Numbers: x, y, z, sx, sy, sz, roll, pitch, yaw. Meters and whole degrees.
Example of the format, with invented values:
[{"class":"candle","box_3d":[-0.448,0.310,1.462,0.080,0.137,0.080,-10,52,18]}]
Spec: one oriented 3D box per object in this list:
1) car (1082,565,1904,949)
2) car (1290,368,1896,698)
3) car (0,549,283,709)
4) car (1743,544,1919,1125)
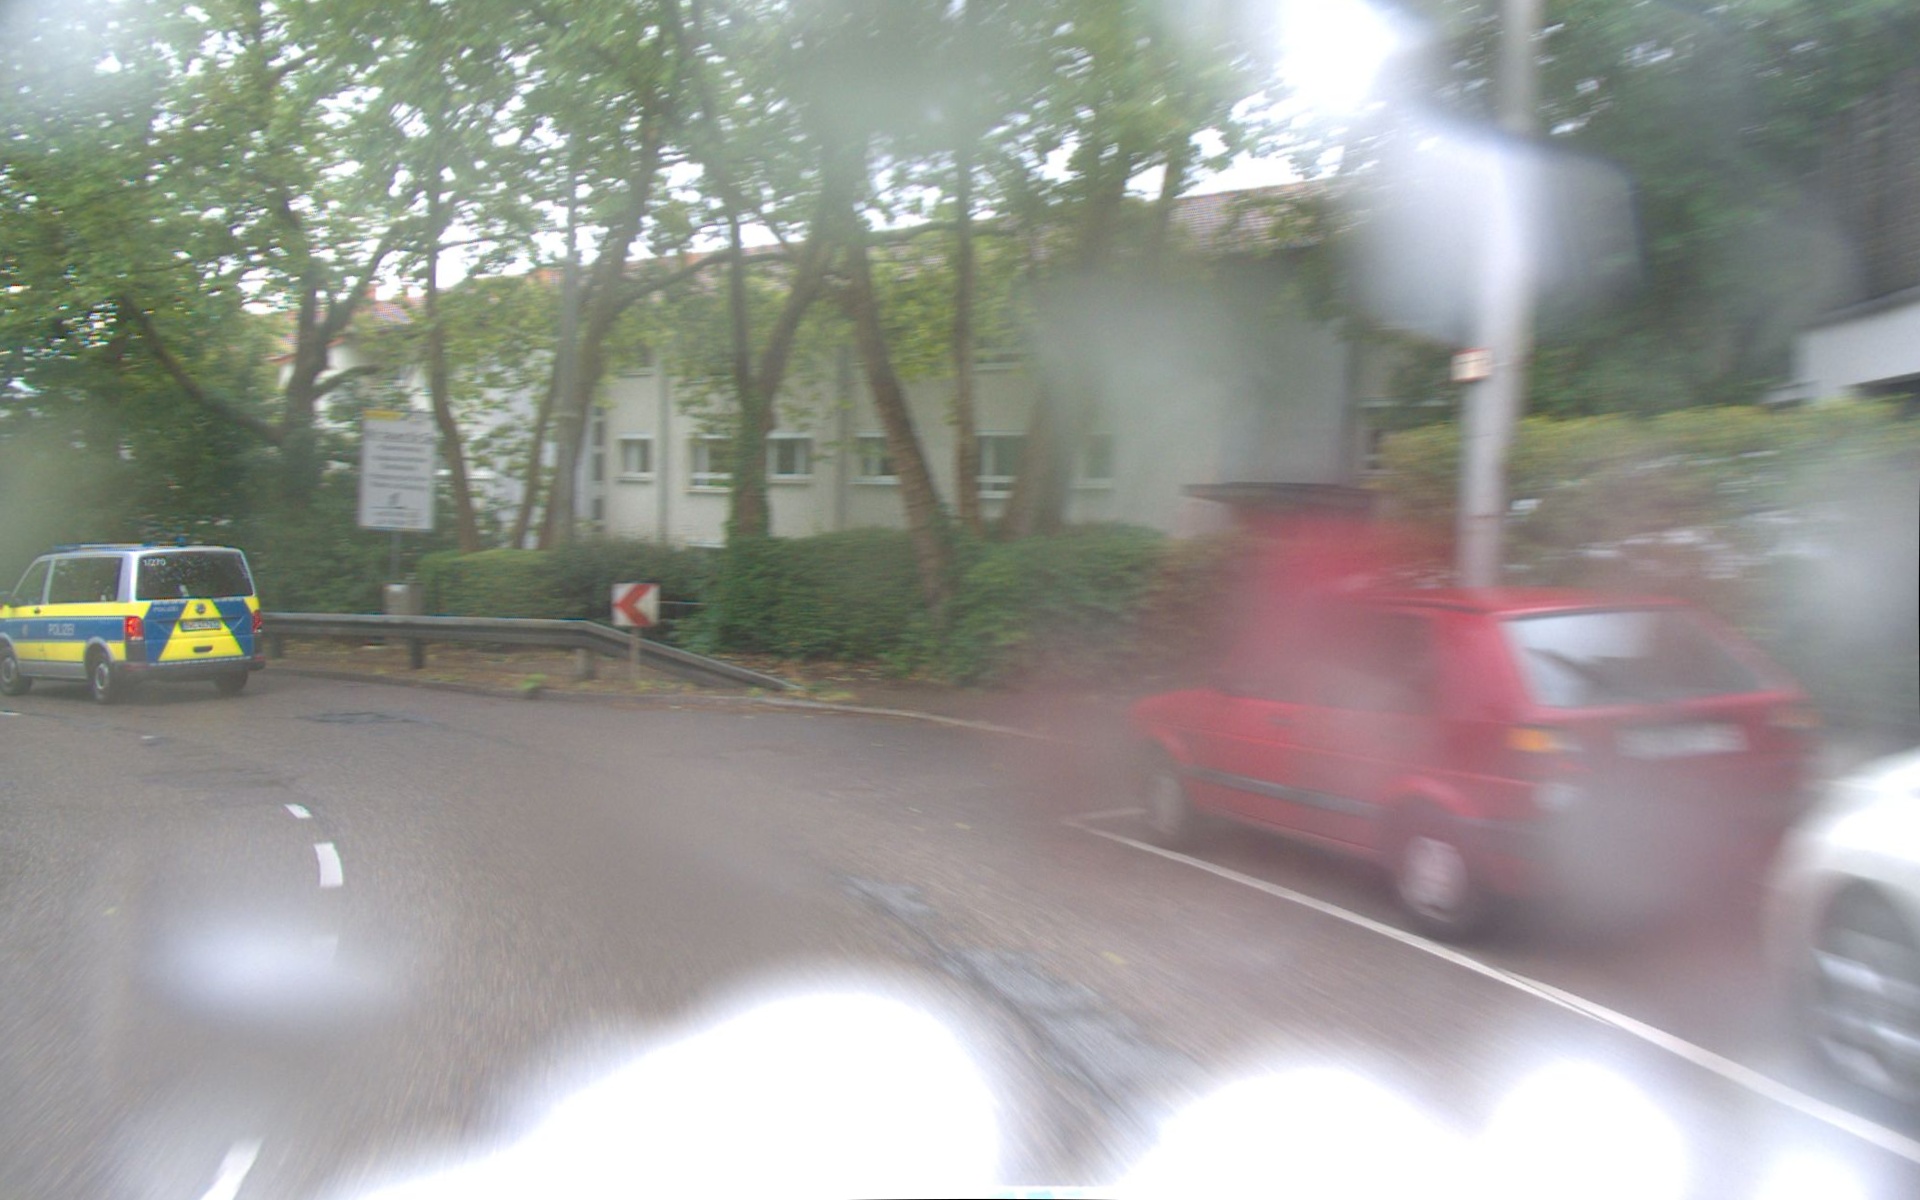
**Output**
[{"class":"car","box_3d":[2.285,0.596,8.358,1.754,1.391,4.170,-1,0,-20]},{"class":"car","box_3d":[5.210,-0.545,14.226,4.307,1.872,2.002,-10,1,8]},{"class":"car","box_3d":[-11.264,0.343,22.484,4.487,1.926,1.989,0,2,41]},{"class":"car","box_3d":[3.558,0.614,3.357,1.732,1.541,3.816,-1,1,-8]}]
